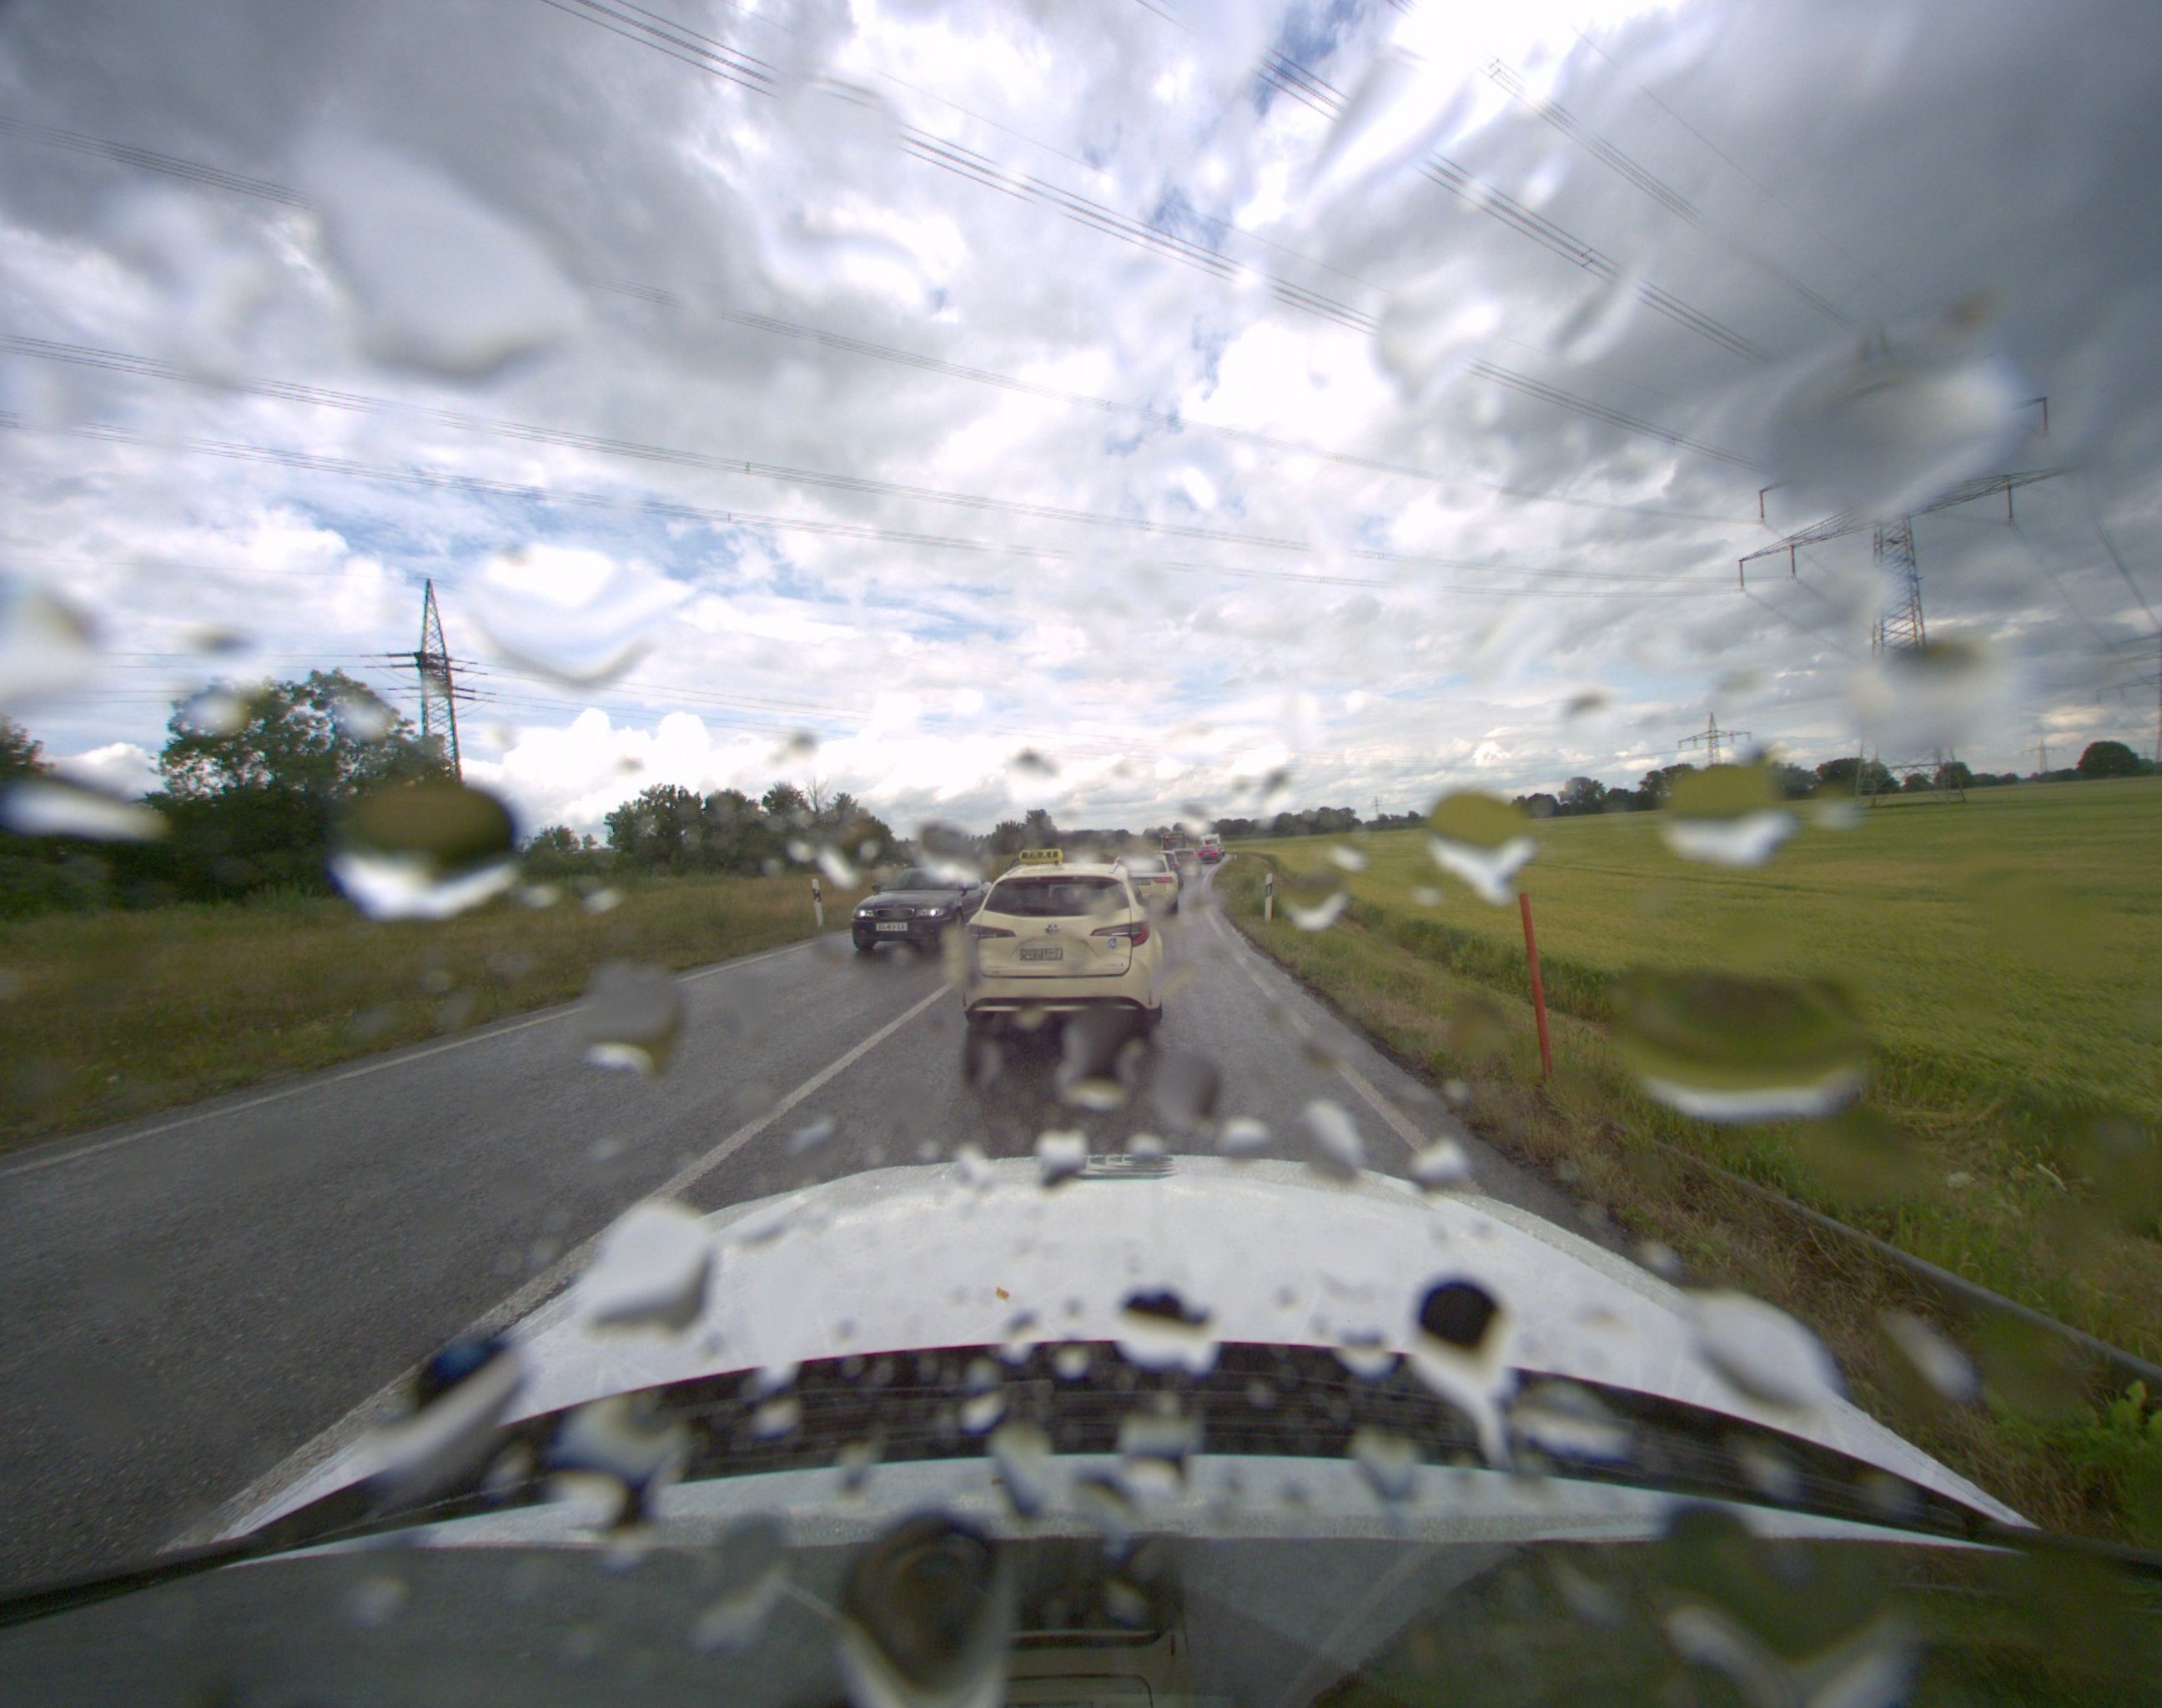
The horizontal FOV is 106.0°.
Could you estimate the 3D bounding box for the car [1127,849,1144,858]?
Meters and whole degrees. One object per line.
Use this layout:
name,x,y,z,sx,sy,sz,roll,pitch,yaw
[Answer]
car,10.427,-0.074,154.914,1.887,1.773,4.136,0,-1,-17

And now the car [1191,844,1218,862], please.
car,10.260,-0.020,67.253,1.947,1.413,4.406,-1,-1,12

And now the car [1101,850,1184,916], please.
car,1.710,0.670,21.287,1.831,1.492,4.619,-1,0,8

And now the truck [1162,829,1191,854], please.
truck,15.661,-1.989,134.019,3.123,3.852,7.368,-1,-1,-7

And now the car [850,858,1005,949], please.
car,-2.598,0.804,14.823,1.622,1.397,4.326,-1,-1,5

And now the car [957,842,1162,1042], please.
car,-0.012,0.722,8.287,1.605,1.562,3.743,-1,-1,5

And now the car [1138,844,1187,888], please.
car,3.332,0.493,32.768,1.603,1.659,3.749,-1,-1,10

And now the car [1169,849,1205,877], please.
car,5.771,0.483,44.156,1.602,1.413,3.750,-1,-1,12

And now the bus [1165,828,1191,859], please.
bus,11.387,-1.211,95.488,2.743,3.297,12.528,-1,0,7

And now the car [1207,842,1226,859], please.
car,14.947,-0.351,89.849,1.949,1.729,3.746,-1,-1,7

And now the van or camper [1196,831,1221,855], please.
van or camper,16.427,-1.379,105.351,2.526,2.896,6.749,-1,0,4
